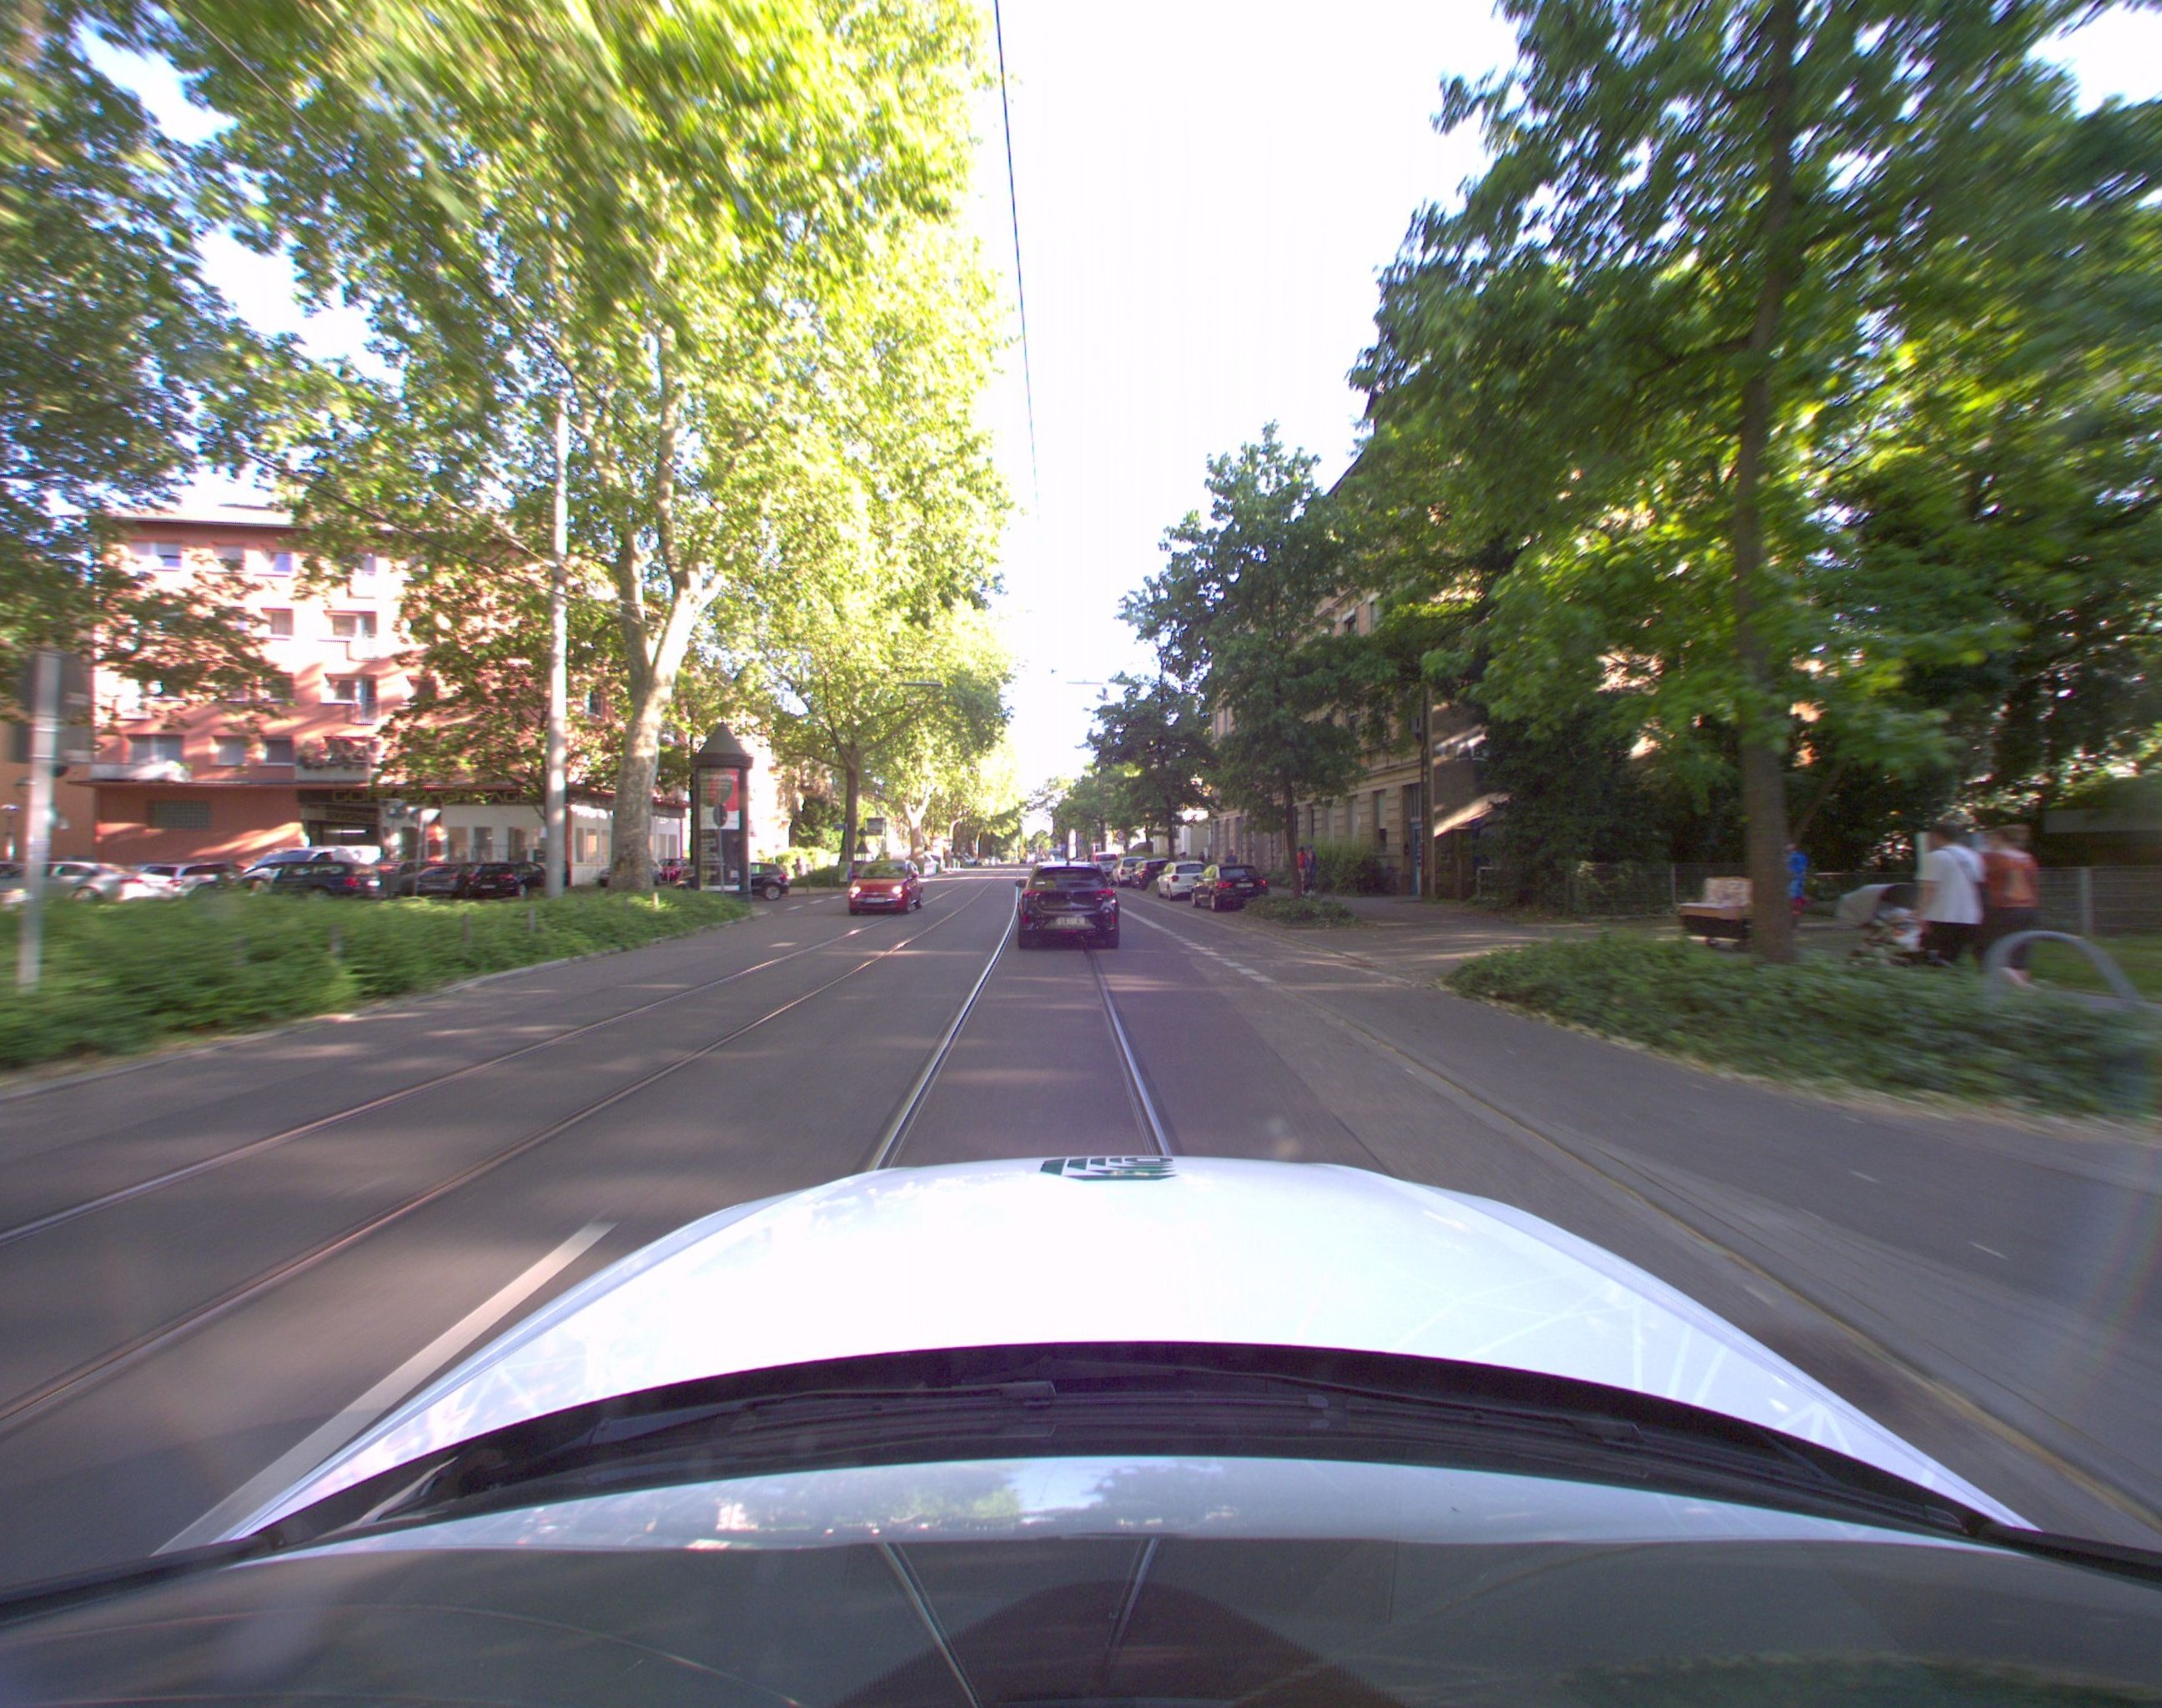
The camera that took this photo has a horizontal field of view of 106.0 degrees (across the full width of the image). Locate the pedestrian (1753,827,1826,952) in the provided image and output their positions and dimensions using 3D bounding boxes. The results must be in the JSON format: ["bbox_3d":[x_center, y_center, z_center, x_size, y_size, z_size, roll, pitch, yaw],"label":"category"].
[{"bbox_3d":[10.081,0.491,11.589,0.619,1.726,0.550,1,-1,-20],"label":"pedestrian"}]

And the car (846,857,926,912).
[{"bbox_3d":[-5.535,0.826,23.461,1.657,1.444,3.468,-1,0,-4],"label":"car"}]

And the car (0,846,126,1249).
[{"bbox_3d":[-5.025,0.773,1.493,1.812,1.568,4.110,-2,0,-4],"label":"car"}]

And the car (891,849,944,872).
[{"bbox_3d":[-16.136,0.633,80.711,5.030,2.259,2.080,0,0,-8],"label":"car"}]

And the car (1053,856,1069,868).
[{"bbox_3d":[-2.726,1.064,110.988,1.881,1.434,4.522,-3,0,-5],"label":"car"}]

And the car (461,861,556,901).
[{"bbox_3d":[-23.071,1.051,32.986,1.815,1.493,3.980,0,0,-14],"label":"car"}]

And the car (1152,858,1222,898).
[{"bbox_3d":[4.061,0.891,31.871,1.881,1.368,4.100,-3,0,-5],"label":"car"}]

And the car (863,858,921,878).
[{"bbox_3d":[-14.172,1.068,61.315,3.980,1.465,1.851,0,-1,-5],"label":"car"}]

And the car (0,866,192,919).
[{"bbox_3d":[-29.551,1.092,23.844,4.472,1.450,1.816,0,-1,-13],"label":"car"}]

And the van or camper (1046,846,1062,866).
[{"bbox_3d":[-4.543,0.306,134.823,2.250,3.216,5.522,-2,0,-5],"label":"van or camper"}]

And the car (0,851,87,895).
[{"bbox_3d":[-40.555,0.695,30.407,1.946,1.618,4.466,0,0,-12],"label":"car"}]

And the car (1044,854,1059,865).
[{"bbox_3d":[-5.177,0.971,141.975,2.250,1.840,5.522,-2,0,-5],"label":"car"}]

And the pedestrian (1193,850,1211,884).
[{"bbox_3d":[6.165,0.664,41.479,0.725,1.709,0.854,0,-1,-6],"label":"pedestrian"}]

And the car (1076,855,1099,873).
[{"bbox_3d":[0.594,0.931,76.318,1.709,1.514,4.028,-3,0,-6],"label":"car"}]

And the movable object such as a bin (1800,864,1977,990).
[{"bbox_3d":[8.578,0.731,8.725,0.635,1.202,1.307,-2,0,6],"label":"movable object such as a bin"}]

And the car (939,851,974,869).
[{"bbox_3d":[-19.234,0.951,126.327,5.027,2.374,2.078,-4,0,-5],"label":"car"}]

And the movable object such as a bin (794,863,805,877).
[{"bbox_3d":[-21.803,1.217,63.074,0.723,1.109,0.542,0,-1,-3],"label":"movable object such as a bin"}]

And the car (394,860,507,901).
[{"bbox_3d":[-25.167,1.029,32.694,1.995,1.526,3.984,0,0,-12],"label":"car"}]

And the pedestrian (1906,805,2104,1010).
[{"bbox_3d":[8.661,0.473,7.686,0.722,1.793,0.969,-2,0,6],"label":"pedestrian"}]

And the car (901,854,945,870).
[{"bbox_3d":[-16.260,0.817,84.070,4.296,1.607,1.921,0,0,-8],"label":"car"}]

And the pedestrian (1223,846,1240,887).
[{"bbox_3d":[6.690,0.548,36.128,0.721,1.793,0.602,0,-1,10],"label":"pedestrian"}]

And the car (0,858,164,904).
[{"bbox_3d":[-38.088,0.978,30.952,1.946,1.618,4.466,0,0,-12],"label":"car"}]

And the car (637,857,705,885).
[{"bbox_3d":[-22.795,0.933,45.480,1.944,1.487,3.994,0,0,-4],"label":"car"}]

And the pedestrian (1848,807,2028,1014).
[{"bbox_3d":[7.895,0.498,7.554,0.722,1.793,0.855,-2,0,6],"label":"pedestrian"}]

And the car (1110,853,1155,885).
[{"bbox_3d":[2.822,0.819,45.873,1.881,1.568,4.235,-3,0,-5],"label":"car"}]

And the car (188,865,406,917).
[{"bbox_3d":[-24.002,1.104,25.127,4.528,1.489,1.854,0,-1,-11],"label":"car"}]

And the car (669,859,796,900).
[{"bbox_3d":[-12.832,0.926,30.206,3.987,1.449,1.737,0,0,-10],"label":"car"}]

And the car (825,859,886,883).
[{"bbox_3d":[-14.085,1.033,51.001,3.411,1.465,1.695,0,-1,-3],"label":"car"}]

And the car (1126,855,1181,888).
[{"bbox_3d":[3.578,0.836,41.208,1.882,1.467,4.584,-3,0,-6],"label":"car"}]

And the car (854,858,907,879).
[{"bbox_3d":[-14.360,1.062,58.444,3.411,1.465,1.758,0,-1,-3],"label":"car"}]

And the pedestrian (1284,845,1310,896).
[{"bbox_3d":[7.632,0.574,28.782,0.719,1.793,0.604,0,-1,32],"label":"pedestrian"}]

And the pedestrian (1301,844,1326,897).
[{"bbox_3d":[8.029,0.573,28.150,0.598,1.793,0.726,0,-1,-7],"label":"pedestrian"}]

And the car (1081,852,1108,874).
[{"bbox_3d":[1.097,0.775,70.559,1.882,1.766,4.670,-1,0,-4],"label":"car"}]

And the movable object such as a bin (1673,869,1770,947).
[{"bbox_3d":[9.714,0.799,12.381,0.666,1.126,0.953,0,-1,-12],"label":"movable object such as a bin"}]

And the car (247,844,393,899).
[{"bbox_3d":[-29.876,0.648,32.228,1.996,2.003,4.897,0,0,-14],"label":"car"}]

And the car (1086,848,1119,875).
[{"bbox_3d":[1.584,0.554,61.645,1.881,1.851,4.959,-3,0,-5],"label":"car"}]

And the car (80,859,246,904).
[{"bbox_3d":[-35.520,0.995,31.722,1.946,1.618,4.466,0,0,-12],"label":"car"}]

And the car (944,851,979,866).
[{"bbox_3d":[-20.435,0.796,138.966,5.622,2.593,2.195,0,-1,-1],"label":"car"}]

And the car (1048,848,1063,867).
[{"bbox_3d":[-4.017,0.537,128.287,2.081,2.772,4.690,-2,0,-5],"label":"car"}]

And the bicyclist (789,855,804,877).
[{"bbox_3d":[-19.948,0.862,57.189,0.799,1.507,1.113,0,-1,-9],"label":"bicyclist"}]

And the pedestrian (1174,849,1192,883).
[{"bbox_3d":[5.166,0.607,41.370,0.725,1.693,0.954,0,-1,-7],"label":"pedestrian"}]

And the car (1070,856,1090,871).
[{"bbox_3d":[-0.115,0.959,85.124,1.700,1.423,3.972,-4,0,-5],"label":"car"}]

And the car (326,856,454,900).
[{"bbox_3d":[-27.302,0.893,32.407,1.996,1.618,4.537,0,0,-14],"label":"car"}]

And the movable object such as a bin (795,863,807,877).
[{"bbox_3d":[-21.909,1.258,63.653,0.721,1.109,0.560,0,-1,-3],"label":"movable object such as a bin"}]

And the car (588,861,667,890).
[{"bbox_3d":[-22.743,1.038,41.007,1.944,1.407,3.887,0,0,-4],"label":"car"}]

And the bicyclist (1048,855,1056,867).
[{"bbox_3d":[-3.469,0.838,97.475,0.957,1.499,1.092,0,-1,-6],"label":"bicyclist"}]

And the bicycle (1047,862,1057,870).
[{"bbox_3d":[-3.467,1.443,97.492,0.966,0.999,2.577,0,0,-6],"label":"bicycle"}]

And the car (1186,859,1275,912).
[{"bbox_3d":[4.554,0.917,25.357,1.671,1.412,3.834,-3,0,-6],"label":"car"}]

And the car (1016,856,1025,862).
[{"bbox_3d":[-17.213,1.397,231.323,2.250,1.840,5.522,-2,0,-5],"label":"car"}]

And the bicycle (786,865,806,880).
[{"bbox_3d":[-19.914,1.270,56.984,0.968,0.999,2.573,0,0,-11],"label":"bicycle"}]

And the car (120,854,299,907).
[{"bbox_3d":[-33.152,0.962,31.251,1.992,1.845,4.906,0,0,-8],"label":"car"}]

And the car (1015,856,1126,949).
[{"bbox_3d":[-0.303,0.782,14.875,1.760,1.460,3.944,0,0,-4],"label":"car"}]
